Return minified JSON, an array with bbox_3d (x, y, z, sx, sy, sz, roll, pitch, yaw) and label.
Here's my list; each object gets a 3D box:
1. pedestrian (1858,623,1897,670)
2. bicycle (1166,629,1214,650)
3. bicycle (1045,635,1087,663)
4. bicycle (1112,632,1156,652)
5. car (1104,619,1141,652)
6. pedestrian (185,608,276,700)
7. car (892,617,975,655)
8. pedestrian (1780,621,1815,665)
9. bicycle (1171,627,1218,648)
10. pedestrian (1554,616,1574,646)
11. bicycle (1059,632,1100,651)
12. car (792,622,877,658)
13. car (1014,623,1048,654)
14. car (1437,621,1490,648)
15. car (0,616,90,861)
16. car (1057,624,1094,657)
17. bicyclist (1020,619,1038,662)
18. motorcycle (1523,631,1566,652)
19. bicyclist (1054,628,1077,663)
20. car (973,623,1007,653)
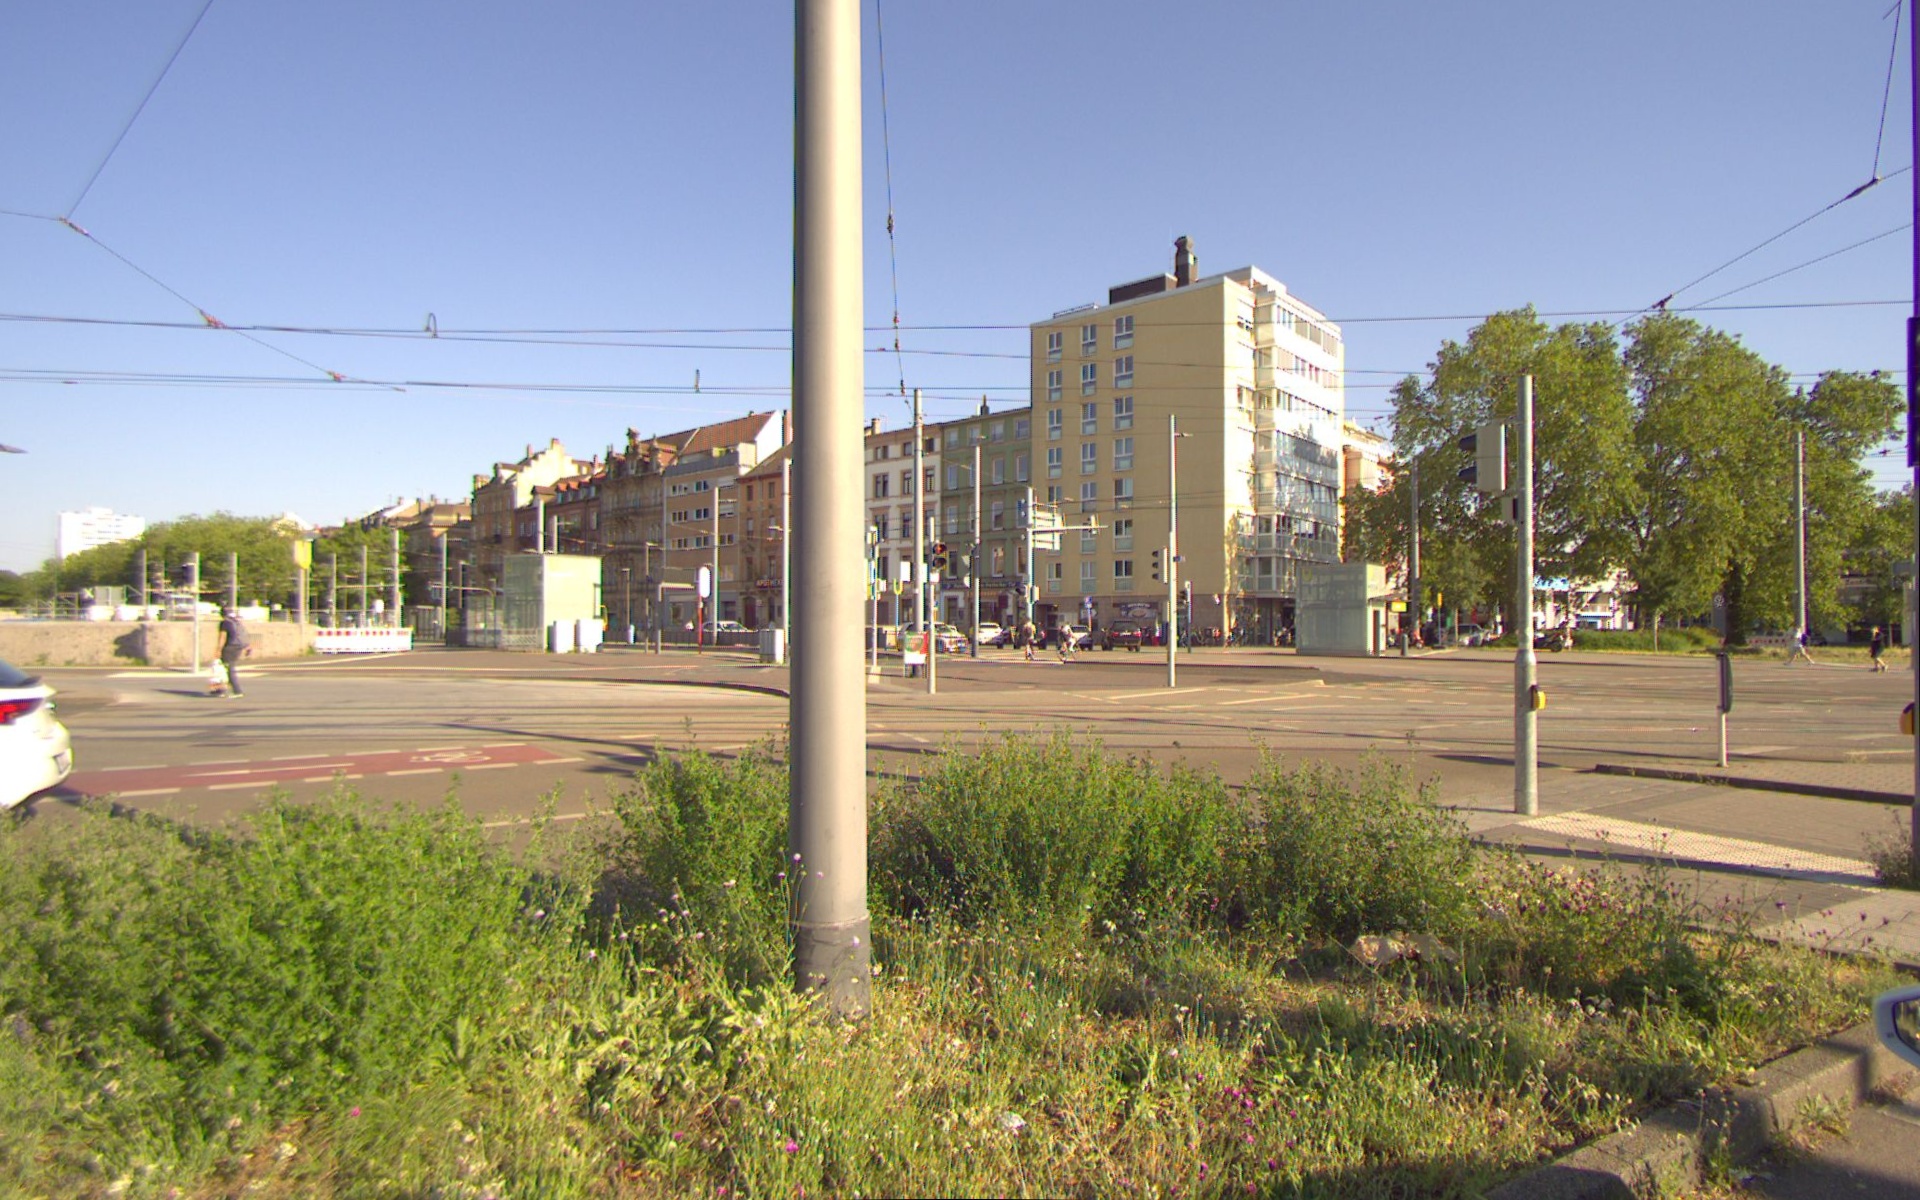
[{"bbox_3d":[34.630,1.754,37.917,0.747,1.728,0.793,2,0,-22],"label":"pedestrian"},{"bbox_3d":[14.434,2.470,63.145,3.003,1.167,0.637,1,0,44],"label":"bicycle"},{"bbox_3d":[4.297,1.965,40.629,0.617,1.104,1.914,2,0,44],"label":"bicycle"},{"bbox_3d":[11.465,2.740,66.136,3.003,1.167,0.637,1,0,44],"label":"bicycle"},{"bbox_3d":[9.236,1.975,57.264,1.684,1.728,4.001,2,0,4],"label":"car"},{"bbox_3d":[-14.127,1.022,19.486,0.985,1.706,1.042,2,0,-6],"label":"pedestrian"},{"bbox_3d":[-1.311,1.728,49.135,3.945,1.684,1.776,1,0,44],"label":"car"},{"bbox_3d":[34.316,1.761,41.162,0.747,1.728,0.793,2,0,-22],"label":"pedestrian"},{"bbox_3d":[14.862,2.366,63.706,3.003,1.167,0.637,1,0,44],"label":"bicycle"},{"bbox_3d":[35.280,1.829,58.701,0.491,1.716,0.852,2,0,-32],"label":"pedestrian"},{"bbox_3d":[8.196,2.865,69.018,3.003,1.167,0.637,1,0,44],"label":"bicycle"},{"bbox_3d":[-6.779,2.100,53.924,4.648,1.684,1.778,2,0,39],"label":"car"},{"bbox_3d":[4.317,2.312,61.548,1.960,1.728,4.001,2,0,4],"label":"car"},{"bbox_3d":[31.992,2.200,63.805,3.973,1.588,1.753,2,0,-44],"label":"car"},{"bbox_3d":[-7.954,0.828,5.869,4.149,1.479,1.739,2,0,-36],"label":"car"},{"bbox_3d":[6.771,2.375,59.237,1.960,1.728,4.001,2,0,4],"label":"car"},{"bbox_3d":[2.830,1.654,41.383,0.653,1.706,0.980,2,0,2],"label":"bicyclist"},{"bbox_3d":[29.131,2.055,50.104,1.753,0.926,0.676,2,0,41],"label":"motorcycle"},{"bbox_3d":[4.261,1.822,40.589,0.617,1.368,0.658,2,0,44],"label":"bicyclist"},{"bbox_3d":[1.956,2.385,63.897,1.960,1.728,4.001,2,0,4],"label":"car"}]
